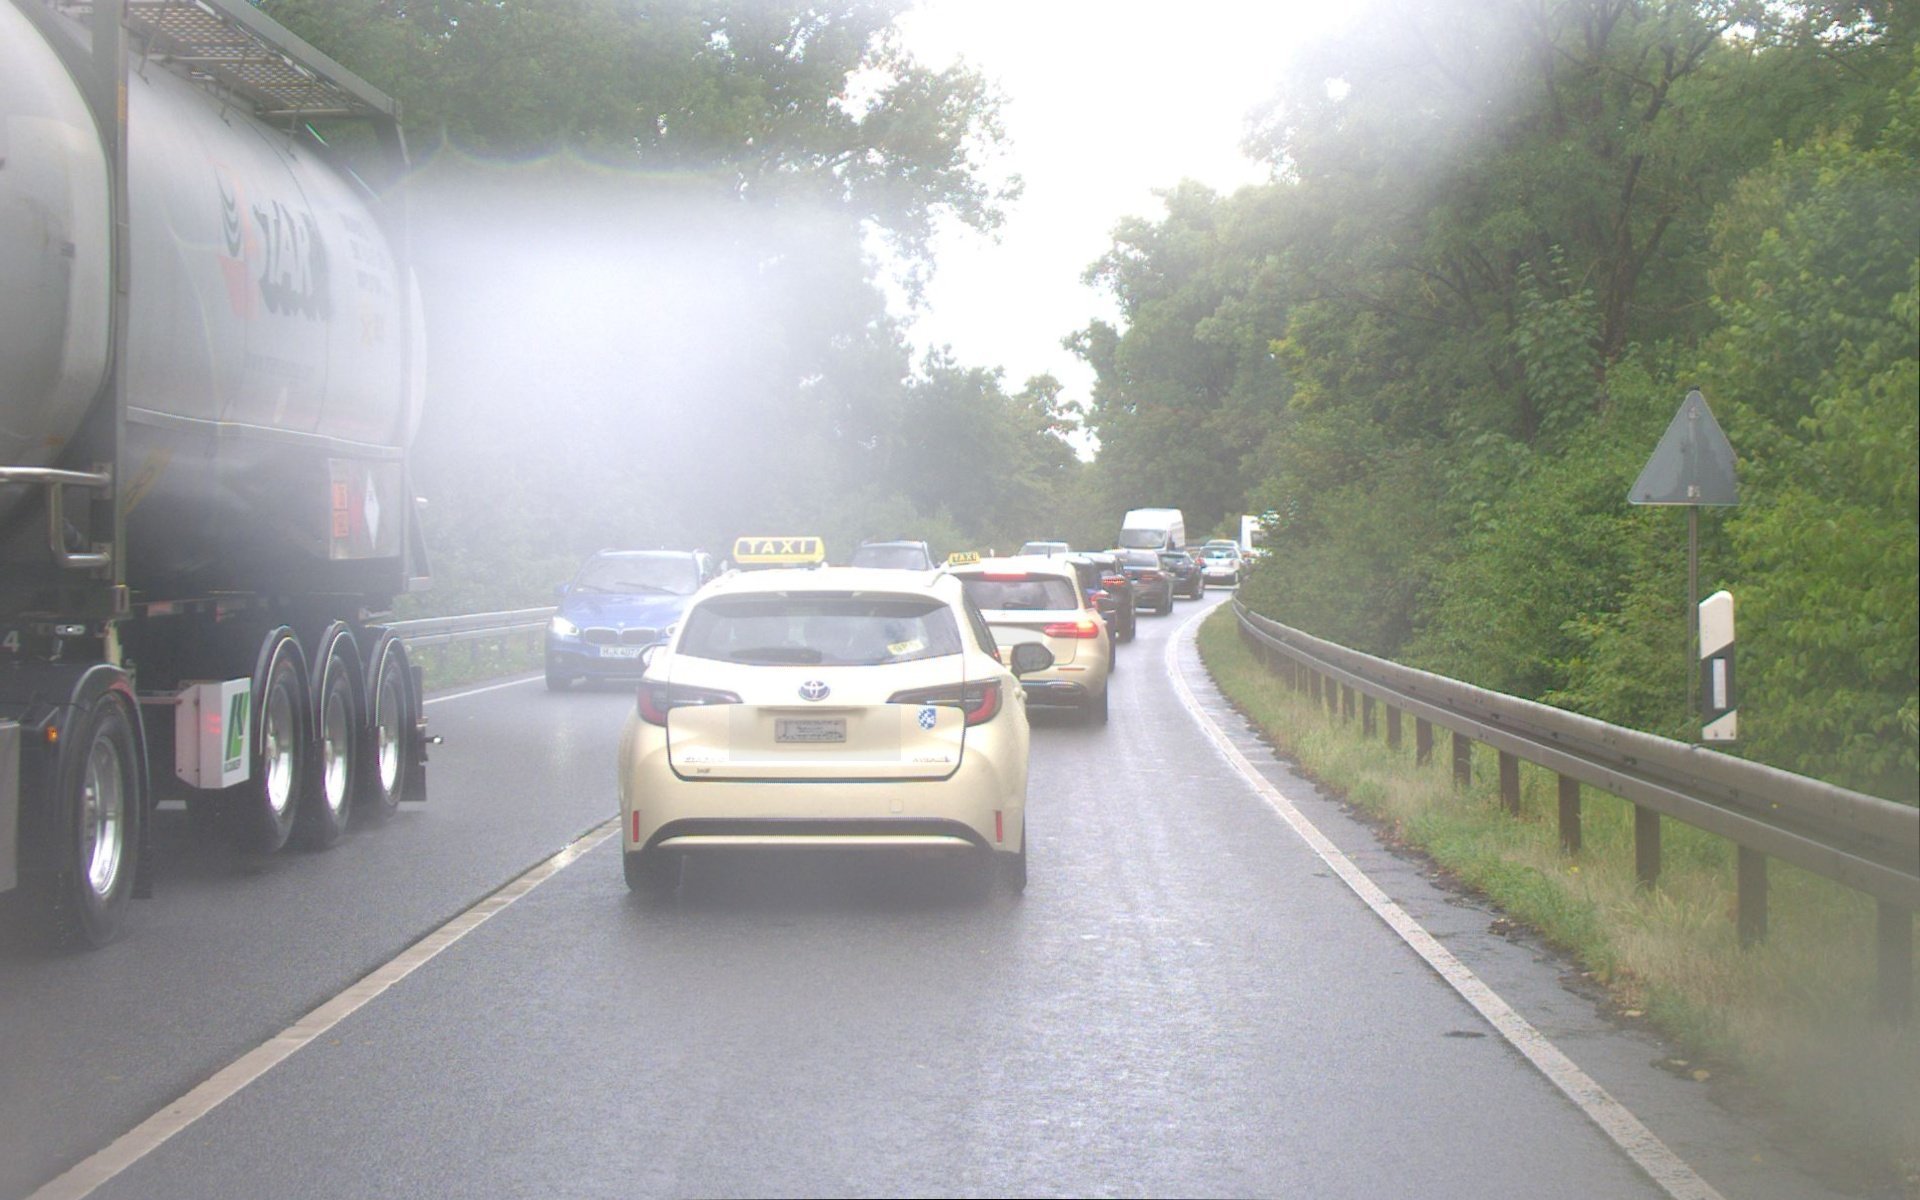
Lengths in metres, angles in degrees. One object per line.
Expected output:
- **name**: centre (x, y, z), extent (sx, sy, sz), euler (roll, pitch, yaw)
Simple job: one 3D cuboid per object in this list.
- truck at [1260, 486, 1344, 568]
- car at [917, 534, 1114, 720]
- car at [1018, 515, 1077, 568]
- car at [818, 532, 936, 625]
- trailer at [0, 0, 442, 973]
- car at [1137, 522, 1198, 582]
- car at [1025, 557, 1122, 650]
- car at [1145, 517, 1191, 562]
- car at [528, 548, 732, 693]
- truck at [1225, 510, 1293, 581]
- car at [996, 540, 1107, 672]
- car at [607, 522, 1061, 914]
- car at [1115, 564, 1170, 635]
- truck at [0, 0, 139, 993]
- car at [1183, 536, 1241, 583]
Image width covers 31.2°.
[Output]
- **truck**: centre (16.114, -3.392, 161.572), extent (3.109, 3.668, 6.996), euler (1, 0, 12)
- **car**: centre (0.546, 0.223, 31.379), extent (1.667, 1.575, 3.892), euler (1, 0, 2)
- **car**: centre (2.655, -1.773, 103.897), extent (1.691, 1.550, 4.442), euler (1, 1, 2)
- **car**: centre (-1.486, -0.407, 63.308), extent (1.847, 1.638, 4.298), euler (1, 1, 3)
- **trailer**: centre (-4.359, -0.630, 15.972), extent (2.536, 3.812, 7.791), euler (1, 0, 1)
- **car**: centre (5.837, -1.329, 96.473), extent (1.616, 1.607, 3.621), euler (1, 0, 5)
- **car**: centre (1.973, 0.043, 59.376), extent (1.611, 1.541, 3.814), euler (0, 0, 2)
- **car**: centre (9.763, -2.816, 161.211), extent (1.994, 2.007, 3.999), euler (1, 0, 5)
- **car**: centre (-3.625, 0.208, 38.330), extent (1.707, 1.510, 3.912), euler (1, 0, 3)
- **truck**: centre (12.001, -2.159, 138.428), extent (2.550, 2.704, 7.534), euler (1, 0, 4)
- **car**: centre (1.117, 0.061, 42.350), extent (1.300, 1.541, 3.260), euler (1, 0, 1)
- **car**: centre (-0.547, 0.474, 16.117), extent (1.833, 1.575, 4.157), euler (1, 0, -1)
- **car**: centre (4.112, -0.016, 77.554), extent (1.167, 1.541, 2.604), euler (1, 0, 2)
- **truck**: centre (-4.468, -0.608, 10.446), extent (2.536, 3.812, 5.245), euler (1, 0, 1)
- **car**: centre (8.574, -1.373, 116.554), extent (1.770, 1.541, 3.813), euler (1, 0, 7)
